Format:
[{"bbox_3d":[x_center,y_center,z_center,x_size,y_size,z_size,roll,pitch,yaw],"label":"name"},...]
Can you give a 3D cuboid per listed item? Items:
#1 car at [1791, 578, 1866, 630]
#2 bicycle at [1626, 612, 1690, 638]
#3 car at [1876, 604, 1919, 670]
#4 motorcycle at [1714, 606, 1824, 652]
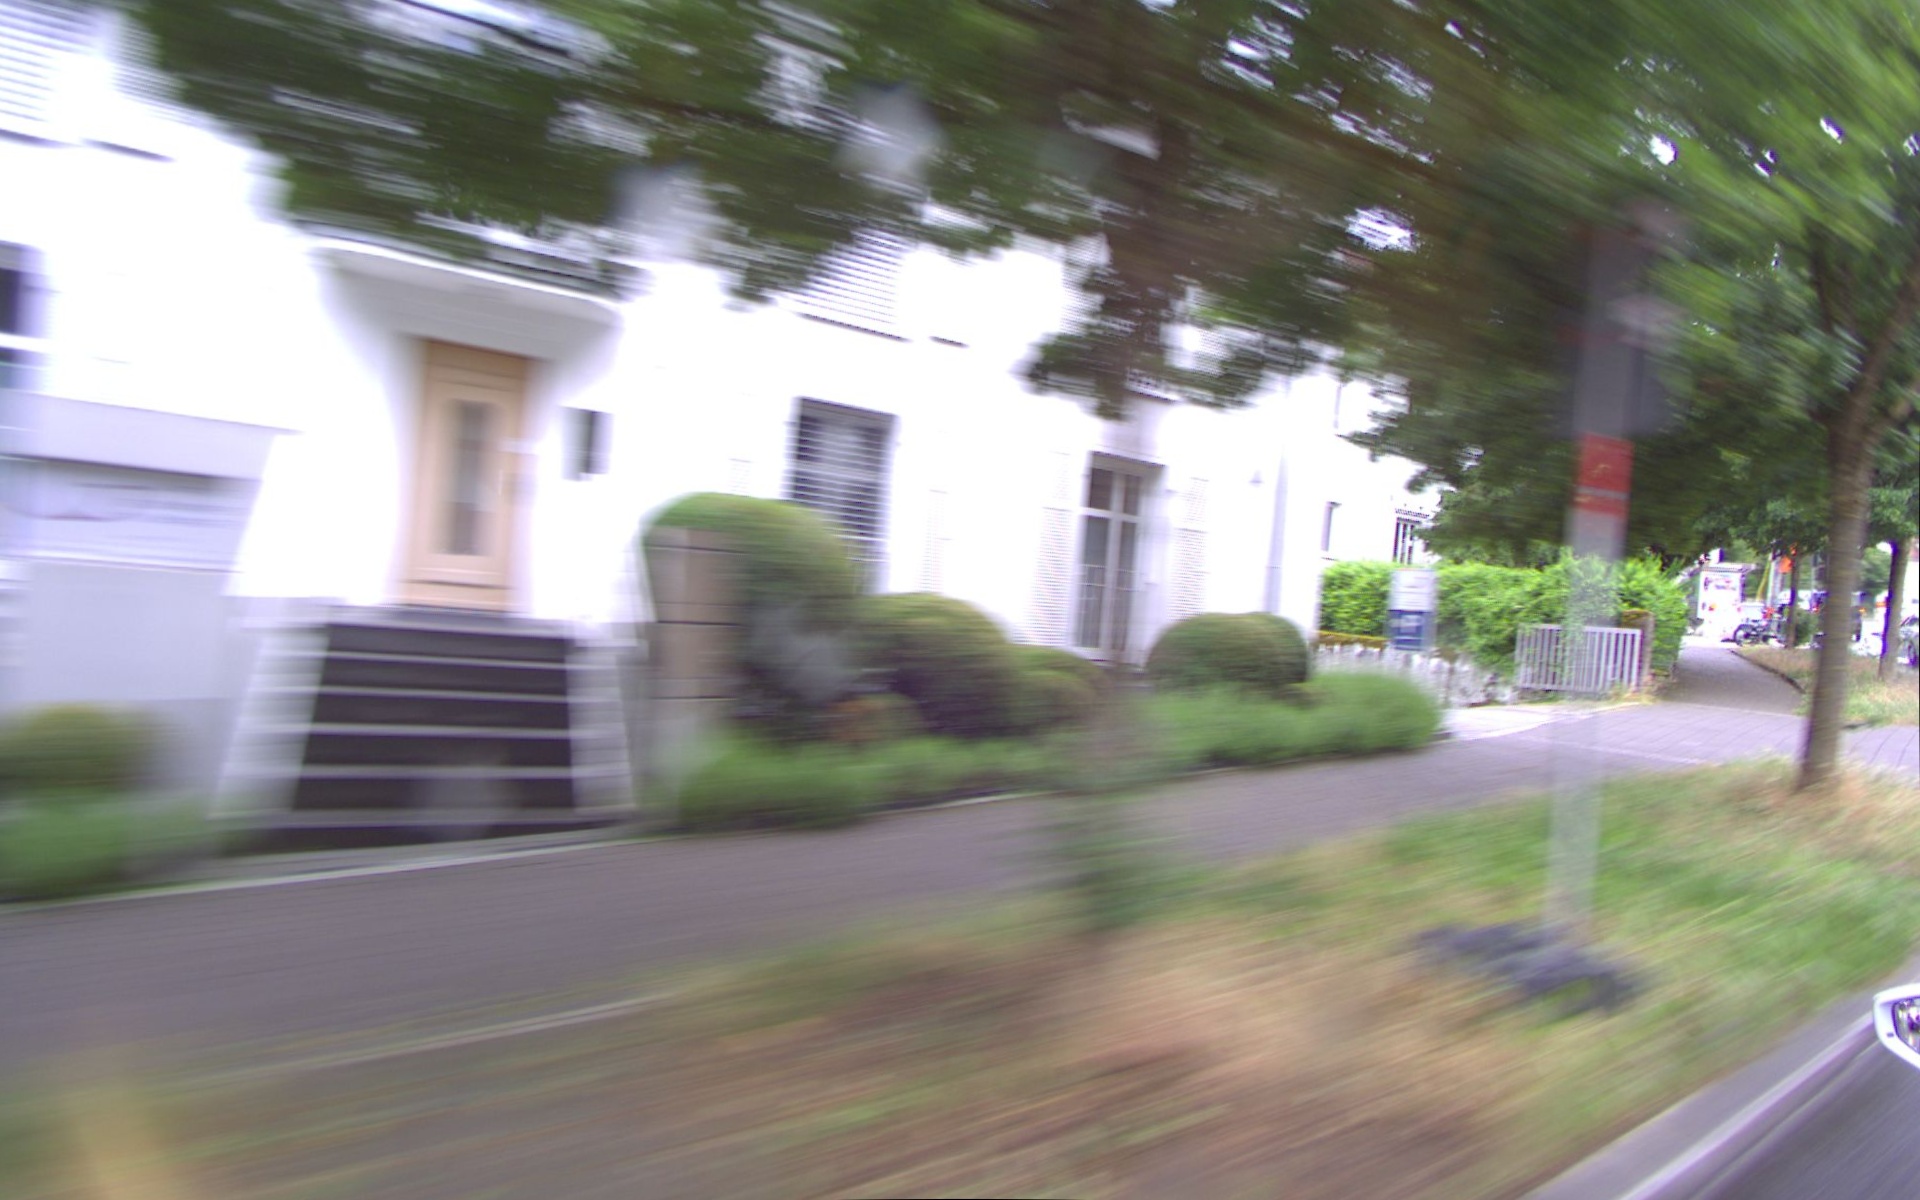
[{"bbox_3d":[34.519,0.196,40.012,1.968,1.817,3.986,0,-3,37],"label":"car"},{"bbox_3d":[28.807,1.033,41.508,2.116,1.016,0.634,1,-1,33],"label":"bicycle"},{"bbox_3d":[25.636,0.997,26.277,1.900,1.639,4.307,1,-1,35],"label":"car"},{"bbox_3d":[25.213,0.885,31.372,2.563,1.250,0.887,3,1,35],"label":"motorcycle"}]
